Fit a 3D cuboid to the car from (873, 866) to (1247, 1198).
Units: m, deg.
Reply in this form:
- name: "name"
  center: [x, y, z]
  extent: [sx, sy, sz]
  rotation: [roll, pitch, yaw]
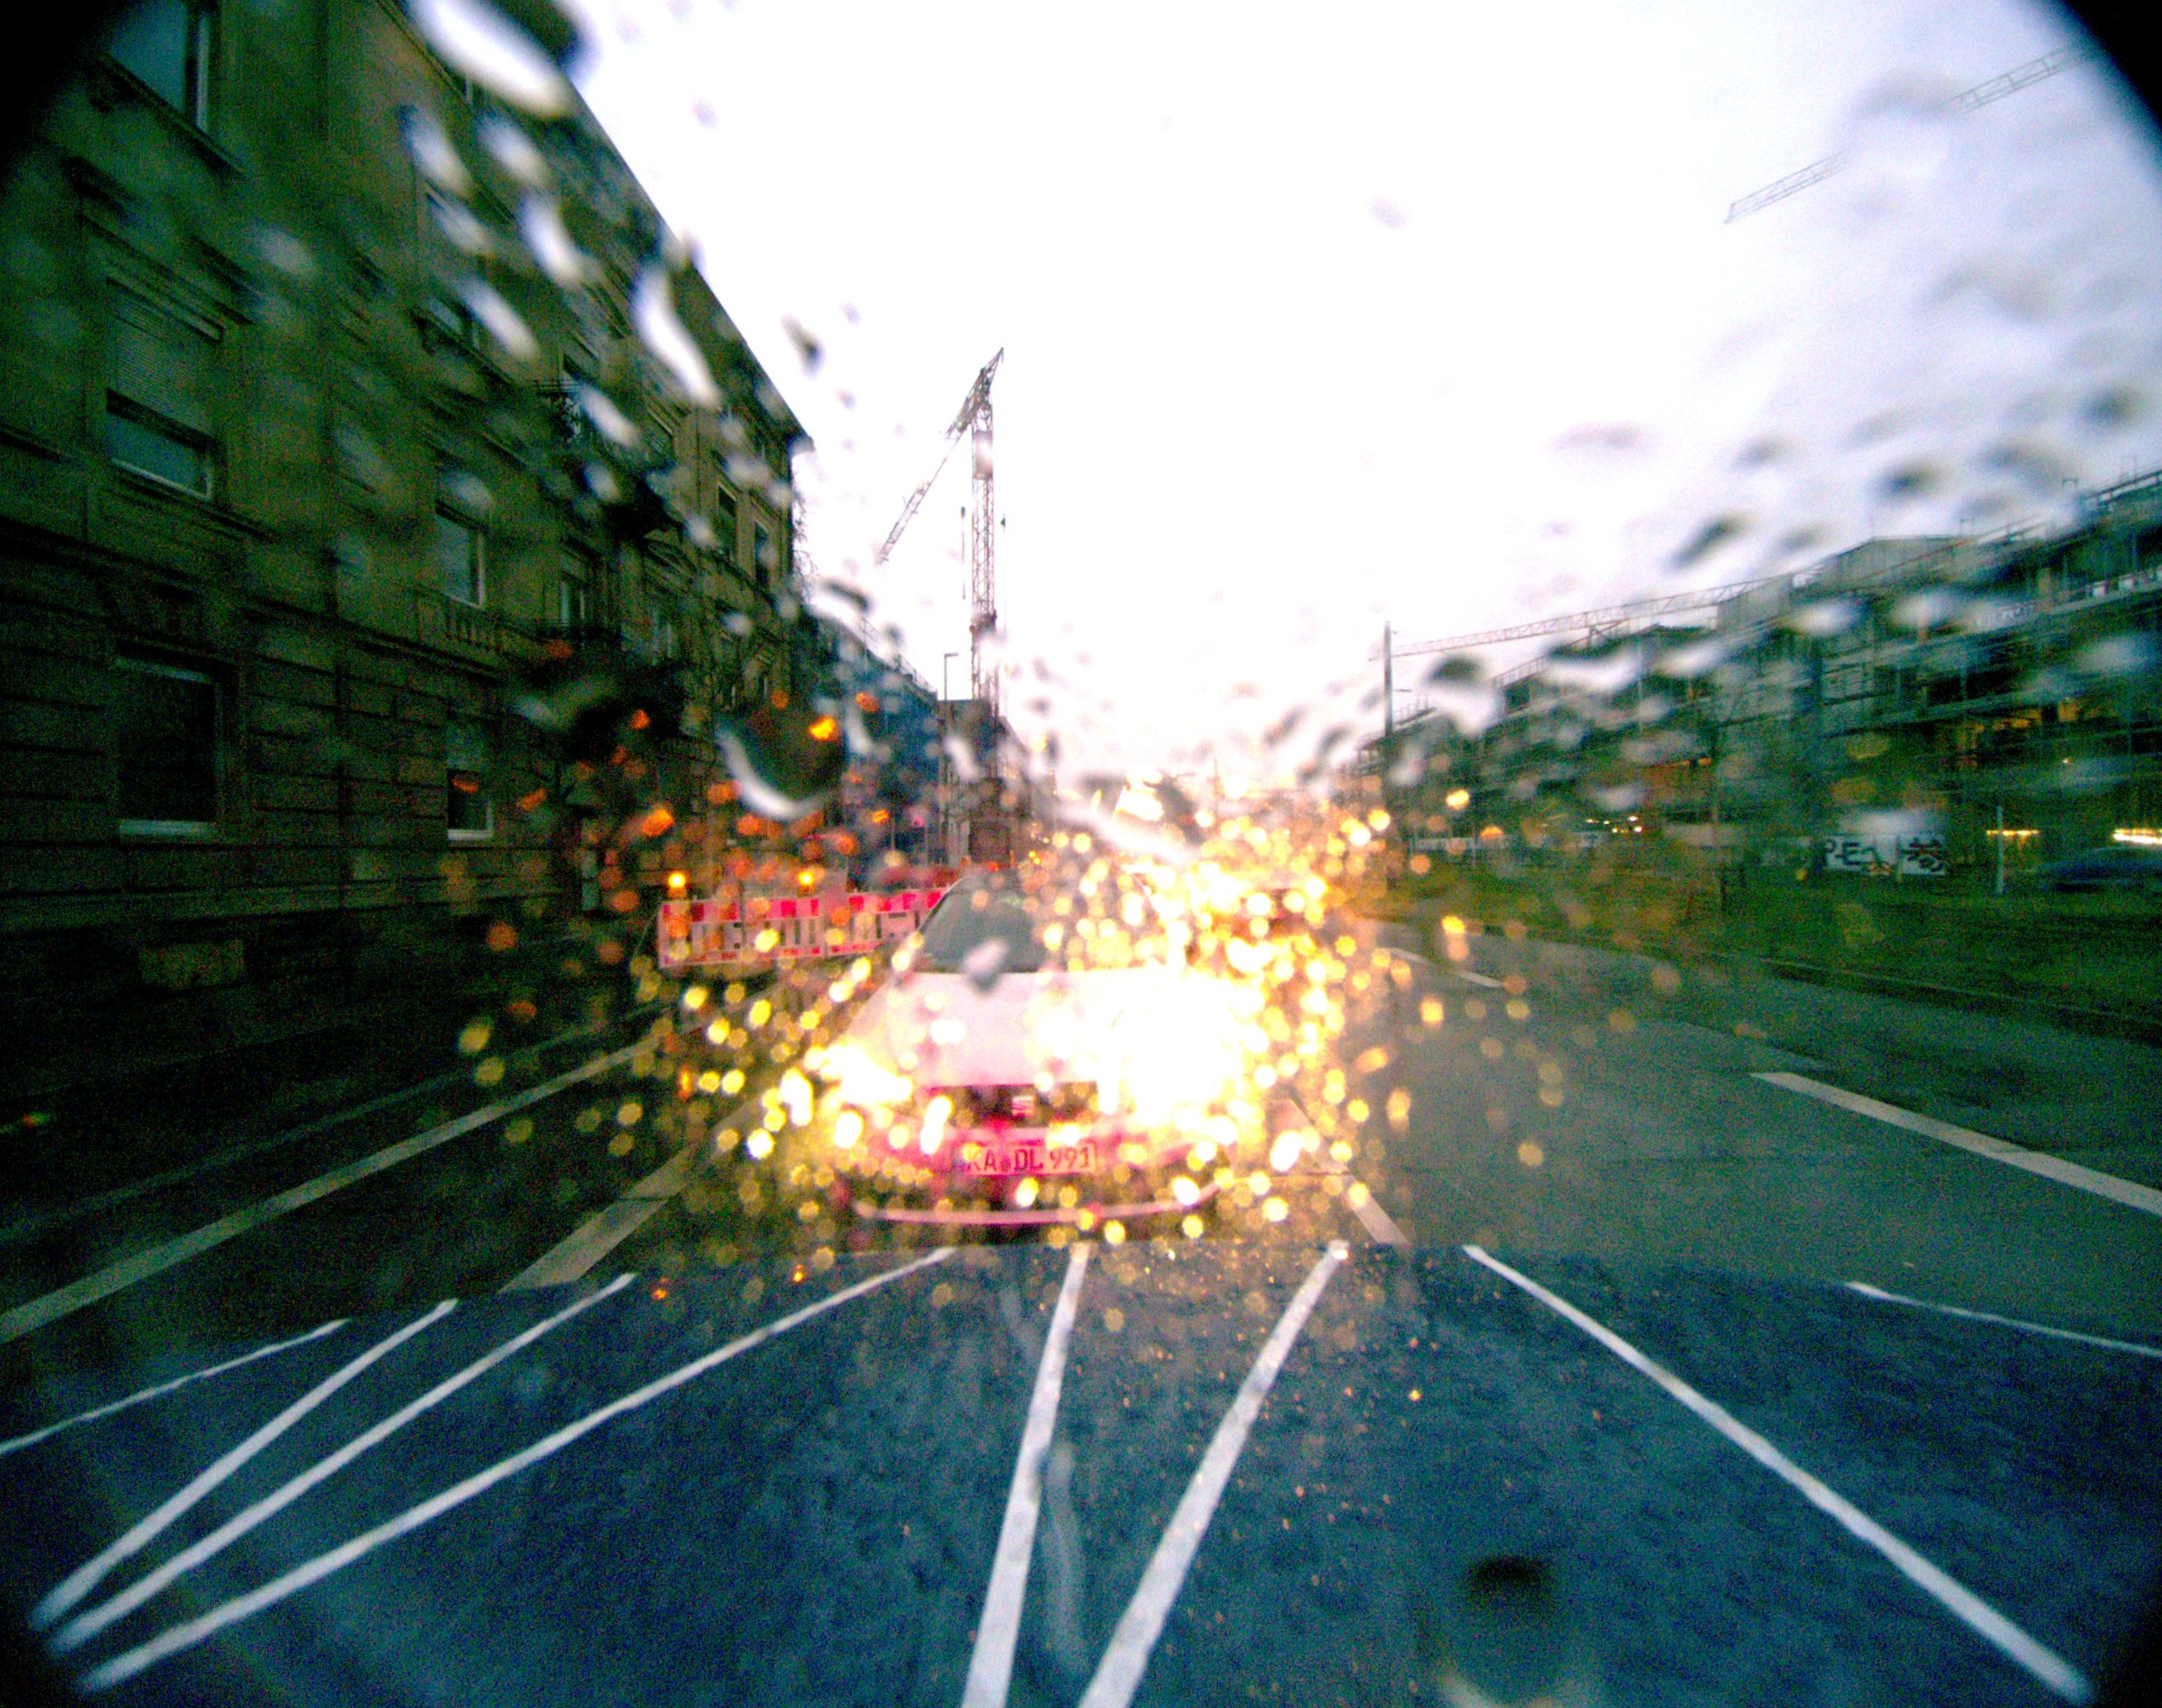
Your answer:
- name: "car"
  center: [-0.137, 0.897, 5.701]
  extent: [1.764, 1.443, 3.999]
  rotation: [-2, 1, -1]

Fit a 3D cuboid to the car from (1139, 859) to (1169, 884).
- name: "car"
  center: [5.069, 1.204, 53.358]
  extent: [1.844, 1.547, 4.000]
  rotation: [-2, 1, 2]

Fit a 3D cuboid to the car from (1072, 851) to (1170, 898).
- name: "car"
  center: [1.452, 0.752, 29.563]
  extent: [1.848, 1.644, 4.315]
  rotation: [-3, 1, -27]

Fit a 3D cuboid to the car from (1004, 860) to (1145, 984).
- name: "car"
  center: [-0.124, 0.887, 11.758]
  extent: [1.764, 1.443, 3.999]
  rotation: [-2, 1, -1]

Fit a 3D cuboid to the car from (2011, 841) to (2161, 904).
- name: "car"
  center: [30.810, 0.490, 22.335]
  extent: [1.957, 1.677, 4.083]
  rotation: [-2, 1, 0]

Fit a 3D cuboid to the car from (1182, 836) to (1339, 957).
- name: "car"
  center: [2.915, 0.603, 13.213]
  extent: [1.858, 1.723, 4.000]
  rotation: [-2, 1, 2]

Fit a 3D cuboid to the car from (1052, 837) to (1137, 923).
- name: "car"
  center: [0.268, 0.565, 19.257]
  extent: [1.858, 1.886, 3.999]
  rotation: [-2, 1, -1]

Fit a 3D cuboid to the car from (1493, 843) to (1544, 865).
- name: "car"
  center: [36.886, -0.018, 64.149]
  extent: [1.998, 1.761, 4.000]
  rotation: [-2, 1, 2]
